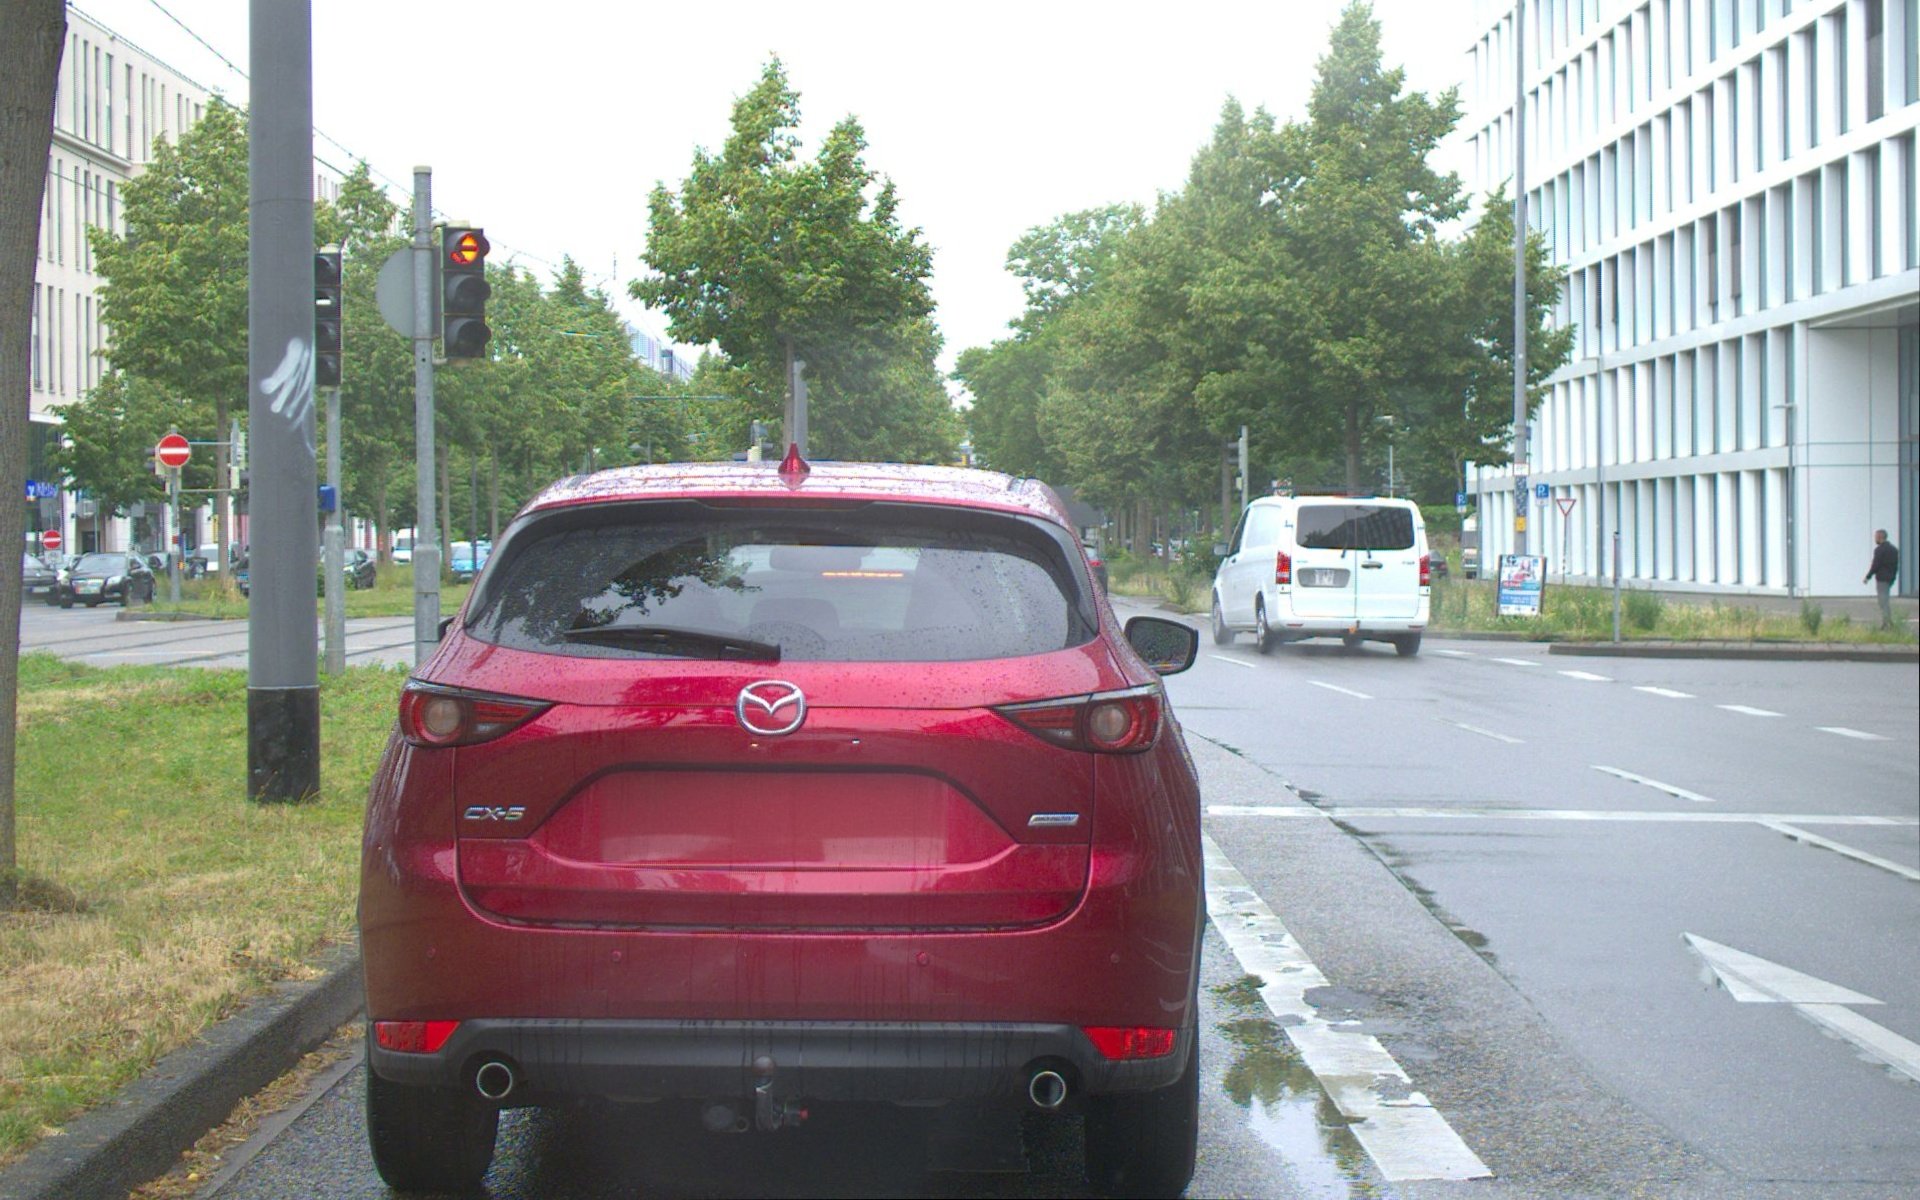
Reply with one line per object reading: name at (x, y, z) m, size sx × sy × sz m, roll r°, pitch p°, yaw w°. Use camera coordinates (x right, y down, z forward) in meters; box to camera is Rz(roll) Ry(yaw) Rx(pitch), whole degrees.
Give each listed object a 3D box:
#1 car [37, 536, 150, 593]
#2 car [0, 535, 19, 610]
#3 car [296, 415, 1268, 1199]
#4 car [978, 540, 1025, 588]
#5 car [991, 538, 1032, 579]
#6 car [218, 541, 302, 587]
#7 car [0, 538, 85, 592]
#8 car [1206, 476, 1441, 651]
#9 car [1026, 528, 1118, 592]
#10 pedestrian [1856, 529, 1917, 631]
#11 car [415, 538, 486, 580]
car at (-23.303, -0.978, 92.557) m, size 1.993 × 1.479 × 4.446 m, roll 0°, pitch 1°, yaw -1°
car at (-19.959, -0.528, 67.250) m, size 1.993 × 1.479 × 4.446 m, roll 0°, pitch 1°, yaw -2°
car at (-0.372, 0.433, 8.741) m, size 1.898 × 1.671 × 4.000 m, roll 0°, pitch 1°, yaw -1°
car at (1.805, -1.586, 149.835) m, size 1.993 × 2.007 × 4.000 m, roll 0°, pitch 1°, yaw 0°
car at (2.582, -2.085, 173.296) m, size 1.993 × 2.007 × 4.000 m, roll 0°, pitch 1°, yaw 0°
car at (-23.088, -1.207, 113.566) m, size 1.993 × 1.479 × 4.446 m, roll 0°, pitch 1°, yaw -2°
car at (-26.272, -1.003, 97.530) m, size 1.993 × 1.479 × 4.446 m, roll 0°, pitch 1°, yaw -3°
car at (4.320, -0.442, 41.652) m, size 1.967 × 1.972 × 5.092 m, roll 1°, pitch 1°, yaw -4°
car at (2.593, -0.959, 80.657) m, size 1.743 × 1.460 × 3.782 m, roll 0°, pitch 1°, yaw -4°
pedestrian at (15.622, -0.346, 57.985) m, size 0.677 × 1.701 × 0.784 m, roll 0°, pitch 1°, yaw -14°
car at (-18.204, -1.479, 123.016) m, size 1.993 × 1.479 × 4.446 m, roll 0°, pitch 1°, yaw -2°
